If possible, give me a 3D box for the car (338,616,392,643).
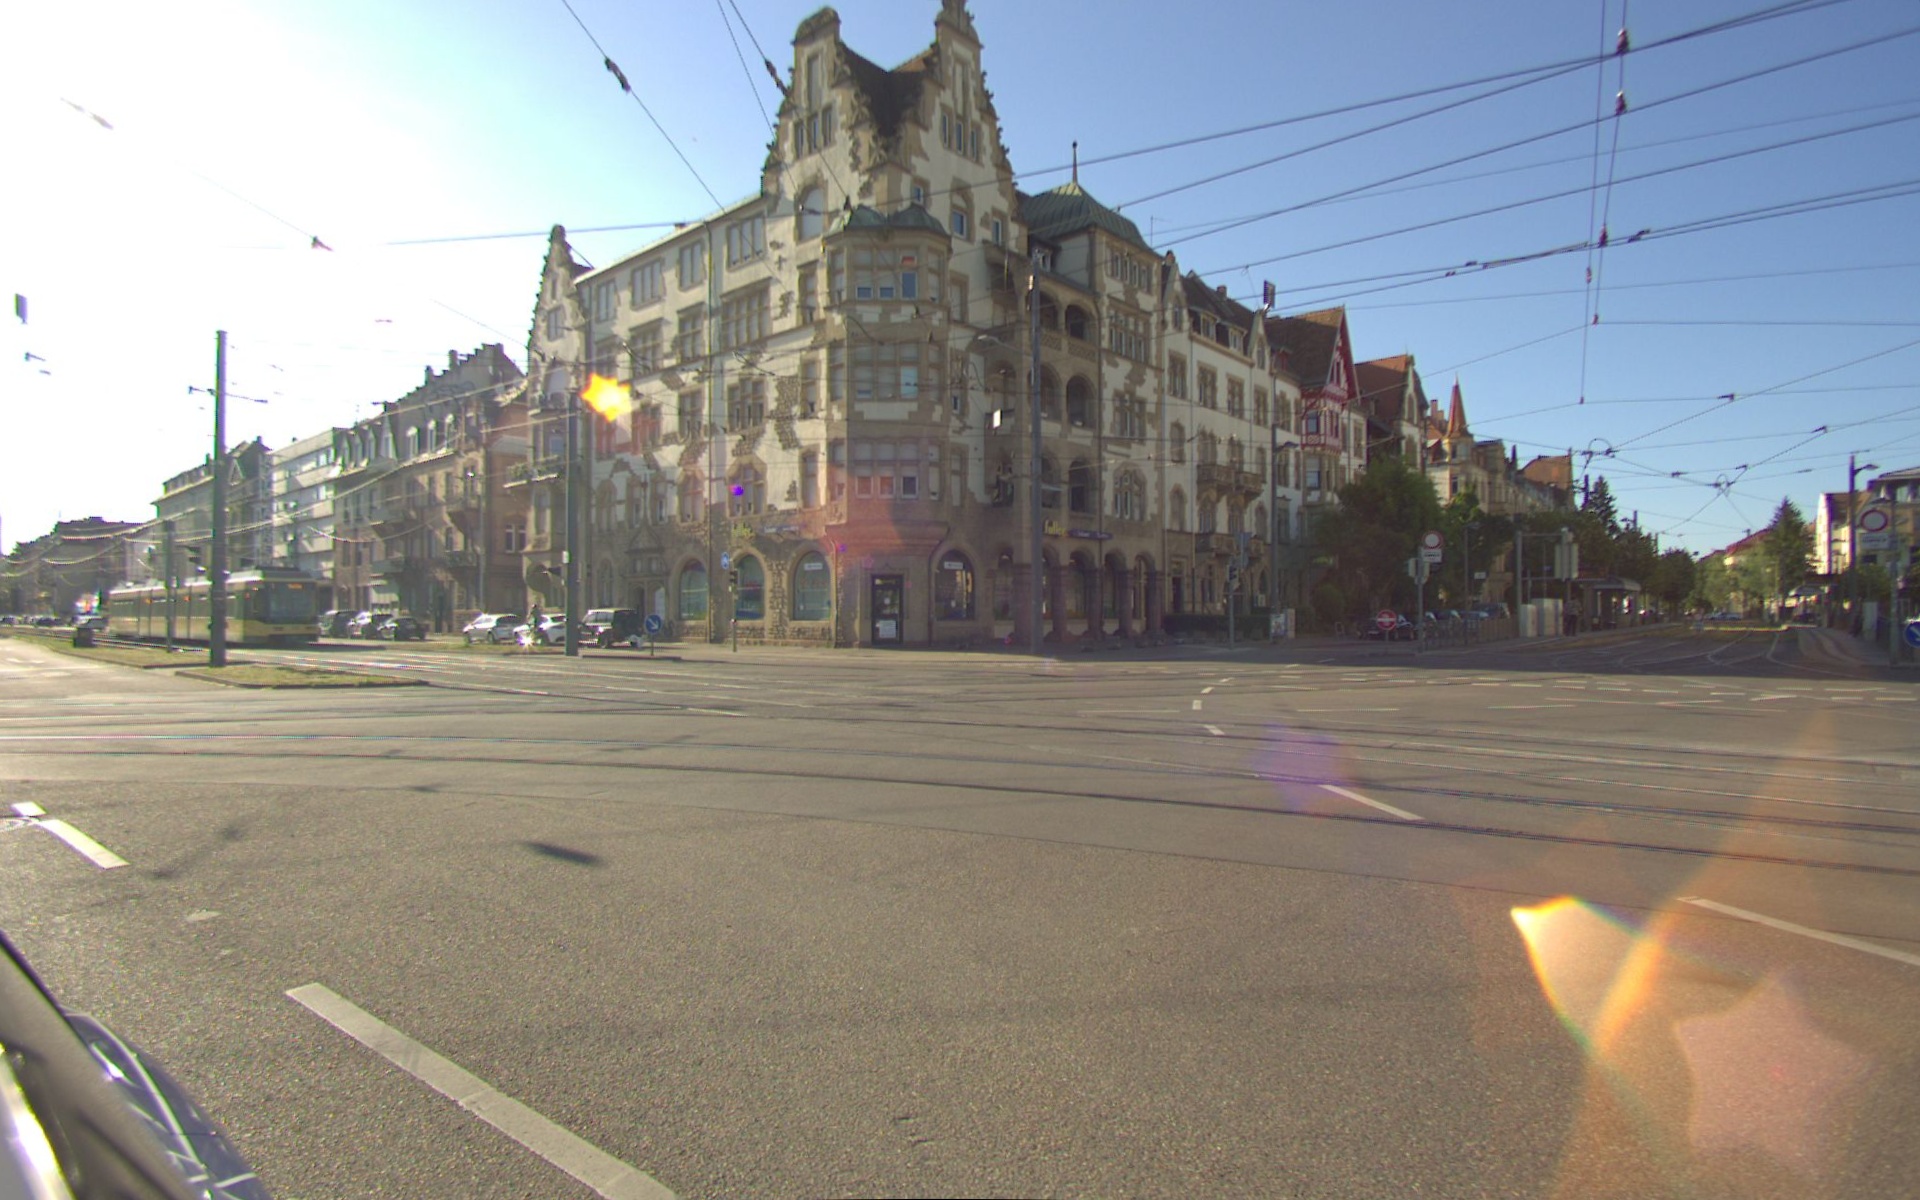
[{"bbox_3d":[-36.416,1.795,61.888,3.999,1.536,1.718,-1,0,42],"label":"car"}]

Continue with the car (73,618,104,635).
[{"bbox_3d":[-87.344,2.666,101.405,3.997,1.682,1.758,-1,-1,41],"label":"car"}]

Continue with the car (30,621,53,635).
[{"bbox_3d":[-119.105,3.635,131.196,3.997,1.682,1.758,-1,-1,41],"label":"car"}]

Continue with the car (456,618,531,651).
[{"bbox_3d":[-23.423,1.694,50.773,3.993,1.536,1.720,-1,0,37],"label":"car"}]

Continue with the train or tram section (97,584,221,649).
[{"bbox_3d":[-49.026,0.976,61.500,19.469,3.424,2.745,-1,0,42],"label":"train or tram section"}]

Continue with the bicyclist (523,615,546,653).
[{"bbox_3d":[-18.239,1.451,43.357,0.629,1.631,0.675,-1,-1,39],"label":"bicyclist"}]

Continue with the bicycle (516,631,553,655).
[{"bbox_3d":[-18.239,1.822,43.360,2.067,1.010,0.599,-1,-1,40],"label":"bicycle"}]

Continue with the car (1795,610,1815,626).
[{"bbox_3d":[109.593,2.318,131.279,1.998,2.029,3.947,-1,-1,40],"label":"car"}]

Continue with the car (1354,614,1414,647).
[{"bbox_3d":[21.005,1.488,50.038,1.725,1.586,3.948,-1,-1,39],"label":"car"}]

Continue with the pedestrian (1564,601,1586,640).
[{"bbox_3d":[26.593,0.880,43.752,0.576,1.695,0.615,-1,-1,9],"label":"pedestrian"}]

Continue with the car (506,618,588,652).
[{"bbox_3d":[-19.322,1.608,47.261,4.429,1.487,1.706,-1,-1,40],"label":"car"}]

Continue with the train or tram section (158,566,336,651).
[{"bbox_3d":[-34.518,0.563,48.281,19.468,3.424,2.745,-2,-1,42],"label":"train or tram section"}]

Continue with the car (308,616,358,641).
[{"bbox_3d":[-40.930,1.826,66.077,3.999,1.536,1.718,-1,0,42],"label":"car"}]

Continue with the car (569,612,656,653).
[{"bbox_3d":[-14.914,1.384,43.379,3.997,1.682,1.758,-1,-1,41],"label":"car"}]

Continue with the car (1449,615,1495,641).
[{"bbox_3d":[31.360,1.695,61.992,1.725,1.586,3.948,-1,-1,39],"label":"car"}]
